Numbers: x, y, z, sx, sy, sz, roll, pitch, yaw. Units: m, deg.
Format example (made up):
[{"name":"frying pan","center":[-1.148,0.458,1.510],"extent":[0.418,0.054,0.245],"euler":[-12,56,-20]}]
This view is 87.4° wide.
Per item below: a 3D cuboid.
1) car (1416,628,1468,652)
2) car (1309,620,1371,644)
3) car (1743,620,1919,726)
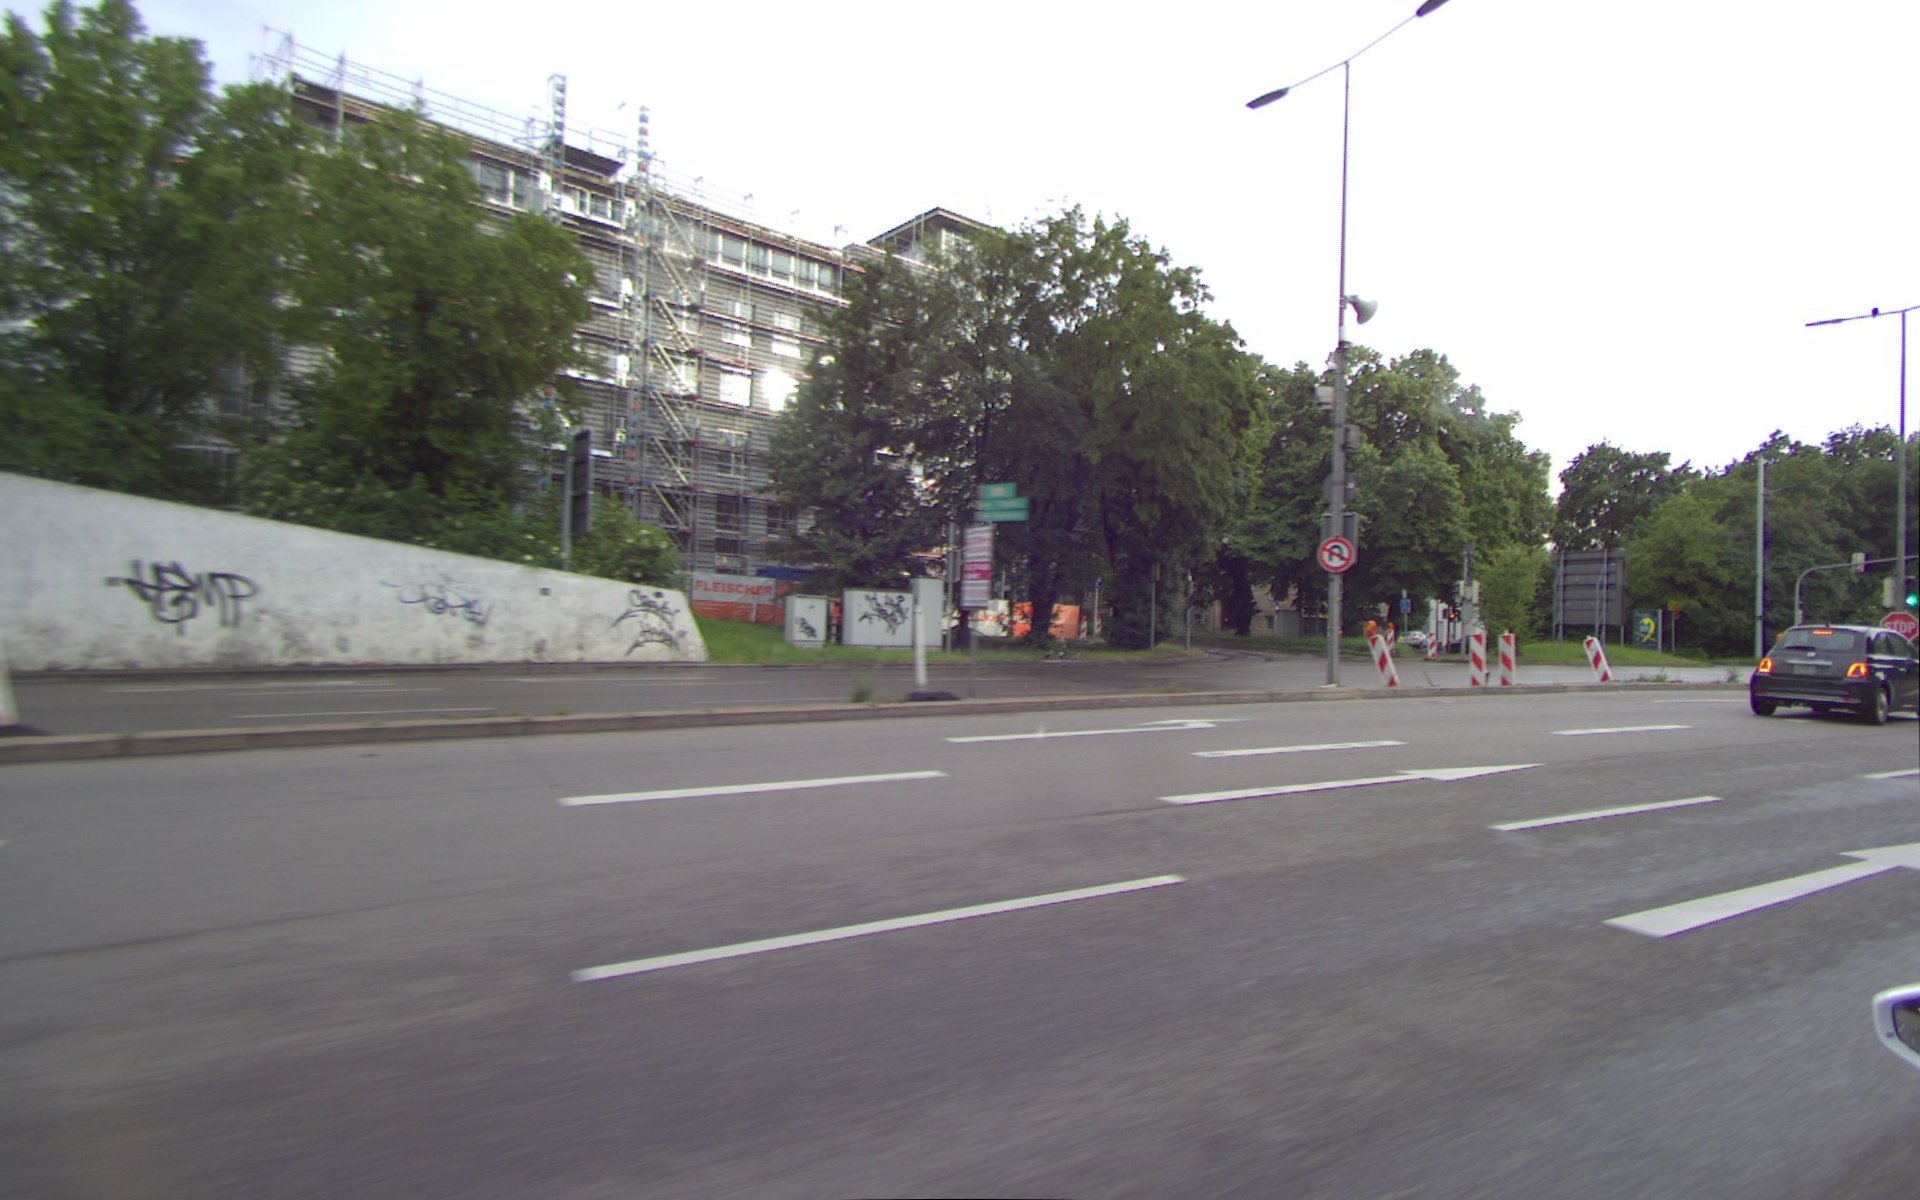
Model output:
[{"name":"car","center":[36.298,2.967,75.648],"extent":[3.959,1.706,1.879],"euler":[0,0,-35]},{"name":"car","center":[28.206,2.354,74.621],"extent":[1.878,1.706,3.962],"euler":[0,0,-34]},{"name":"car","center":[14.347,1.088,16.229],"extent":[3.535,1.474,1.602],"euler":[1,1,-34]}]
